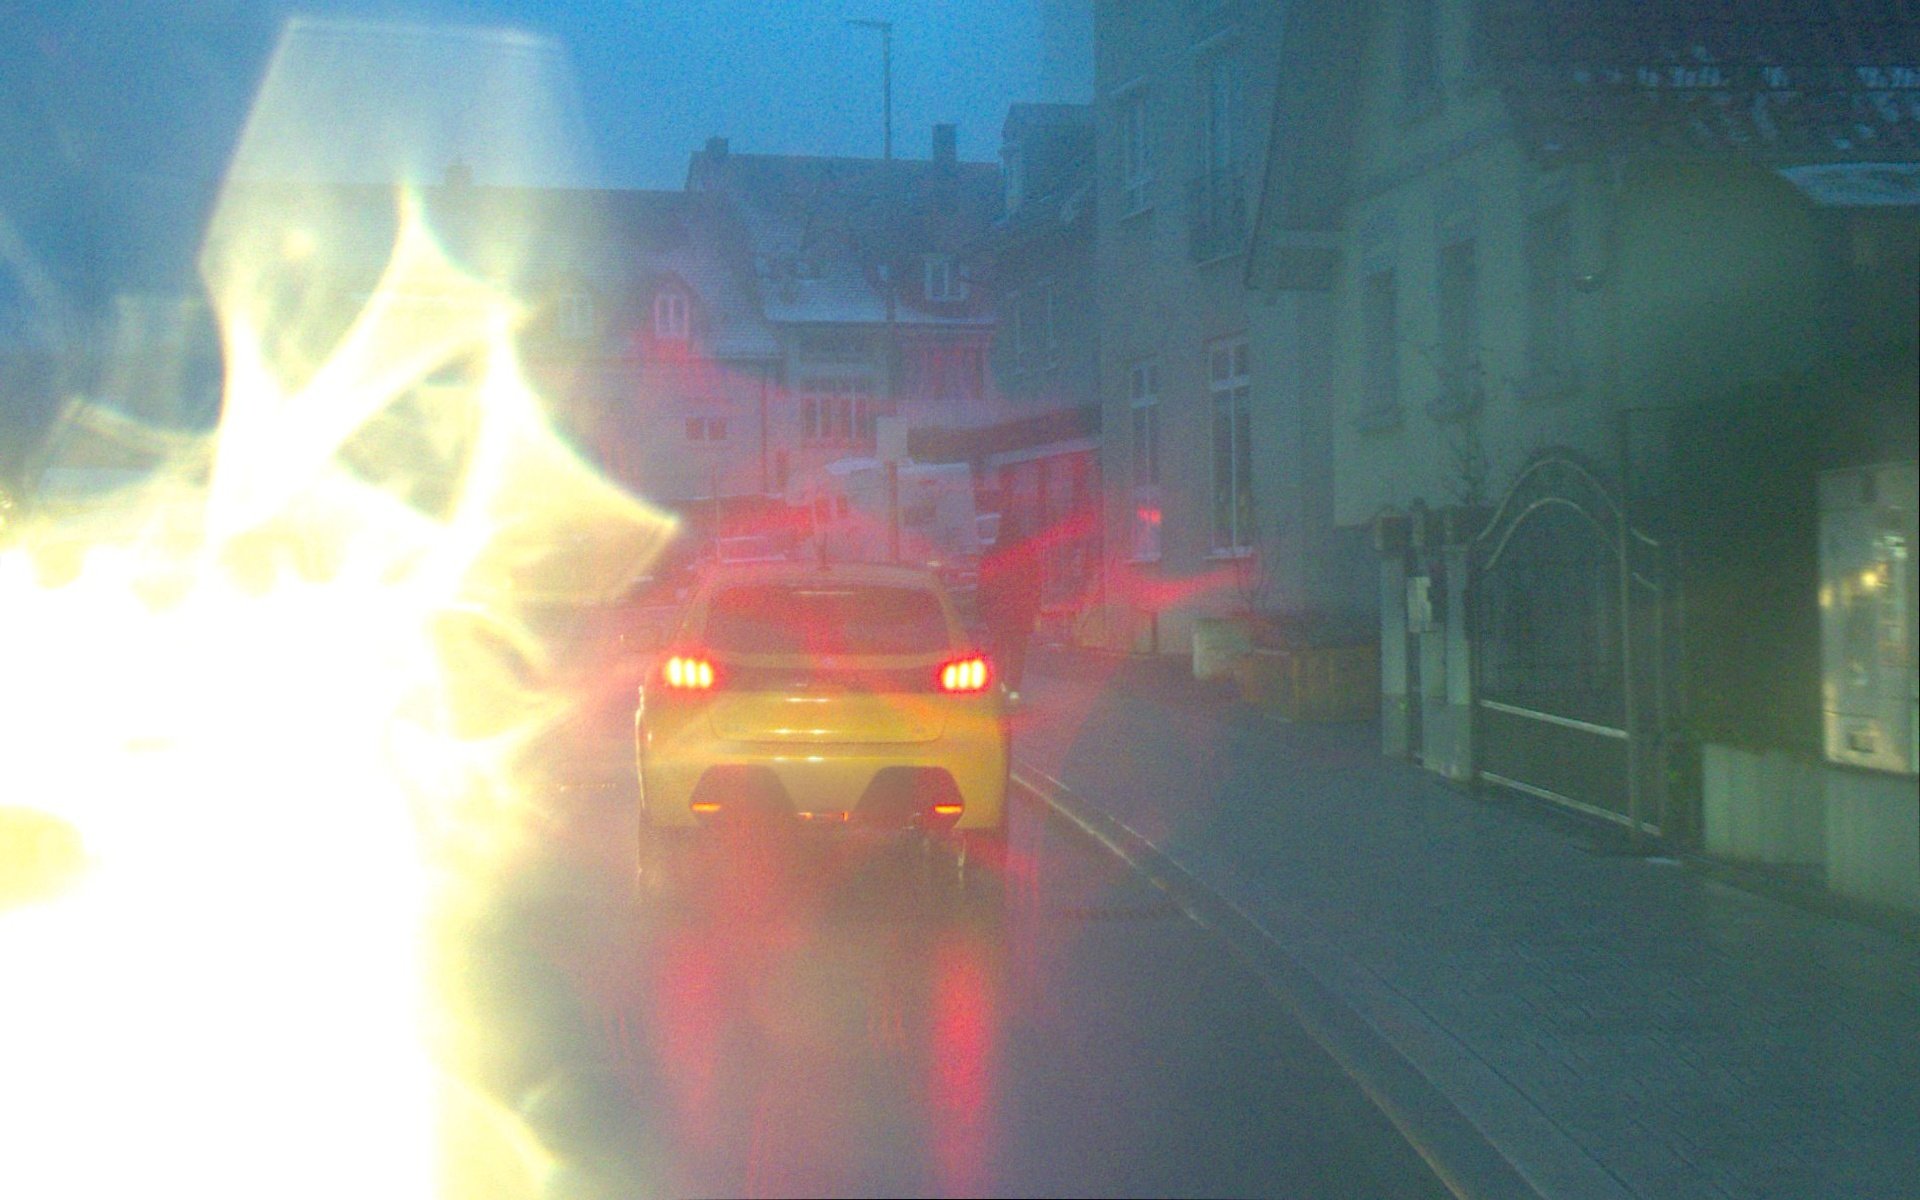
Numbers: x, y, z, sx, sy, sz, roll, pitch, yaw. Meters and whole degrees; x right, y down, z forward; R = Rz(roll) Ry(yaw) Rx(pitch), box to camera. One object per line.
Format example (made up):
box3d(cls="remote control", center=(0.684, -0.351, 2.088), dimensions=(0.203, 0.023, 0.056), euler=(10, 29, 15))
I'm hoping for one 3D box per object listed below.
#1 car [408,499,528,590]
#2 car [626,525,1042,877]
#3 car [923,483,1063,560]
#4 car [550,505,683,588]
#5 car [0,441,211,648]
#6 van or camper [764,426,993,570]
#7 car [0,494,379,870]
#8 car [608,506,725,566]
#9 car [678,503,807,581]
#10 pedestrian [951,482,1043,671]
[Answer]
box3d(cls="car", center=(-8.915, -1.010, 62.086), dimensions=(1.993, 1.583, 4.001), euler=(0, 1, -10))
box3d(cls="car", center=(-0.736, 0.407, 17.000), dimensions=(1.814, 1.528, 4.001), euler=(0, 1, -5))
box3d(cls="car", center=(0.735, -1.810, 79.659), dimensions=(1.788, 1.548, 4.001), euler=(-7, 3, -20))
box3d(cls="car", center=(-7.871, -1.239, 78.419), dimensions=(1.993, 1.759, 4.352), euler=(-3, 2, -19))
box3d(cls="car", center=(-11.452, -0.707, 45.861), dimensions=(2.485, 2.551, 6.763), euler=(0, 0, -9))
box3d(cls="van or camper", center=(-1.971, -2.334, 79.768), dimensions=(2.651, 3.037, 6.736), euler=(-5, 3, -25))
box3d(cls="car", center=(-4.164, 0.320, 18.263), dimensions=(1.951, 1.541, 4.417), euler=(-2, 4, -8))
box3d(cls="car", center=(-7.762, -1.713, 90.569), dimensions=(1.822, 1.457, 4.550), euler=(-3, 3, -21))
box3d(cls="car", center=(-5.030, -1.316, 78.890), dimensions=(1.993, 1.605, 4.175), euler=(-3, 1, -17))
box3d(cls="pedestrian", center=(0.338, -0.233, 32.008), dimensions=(0.745, 1.723, 0.873), euler=(-1, 2, -5))
